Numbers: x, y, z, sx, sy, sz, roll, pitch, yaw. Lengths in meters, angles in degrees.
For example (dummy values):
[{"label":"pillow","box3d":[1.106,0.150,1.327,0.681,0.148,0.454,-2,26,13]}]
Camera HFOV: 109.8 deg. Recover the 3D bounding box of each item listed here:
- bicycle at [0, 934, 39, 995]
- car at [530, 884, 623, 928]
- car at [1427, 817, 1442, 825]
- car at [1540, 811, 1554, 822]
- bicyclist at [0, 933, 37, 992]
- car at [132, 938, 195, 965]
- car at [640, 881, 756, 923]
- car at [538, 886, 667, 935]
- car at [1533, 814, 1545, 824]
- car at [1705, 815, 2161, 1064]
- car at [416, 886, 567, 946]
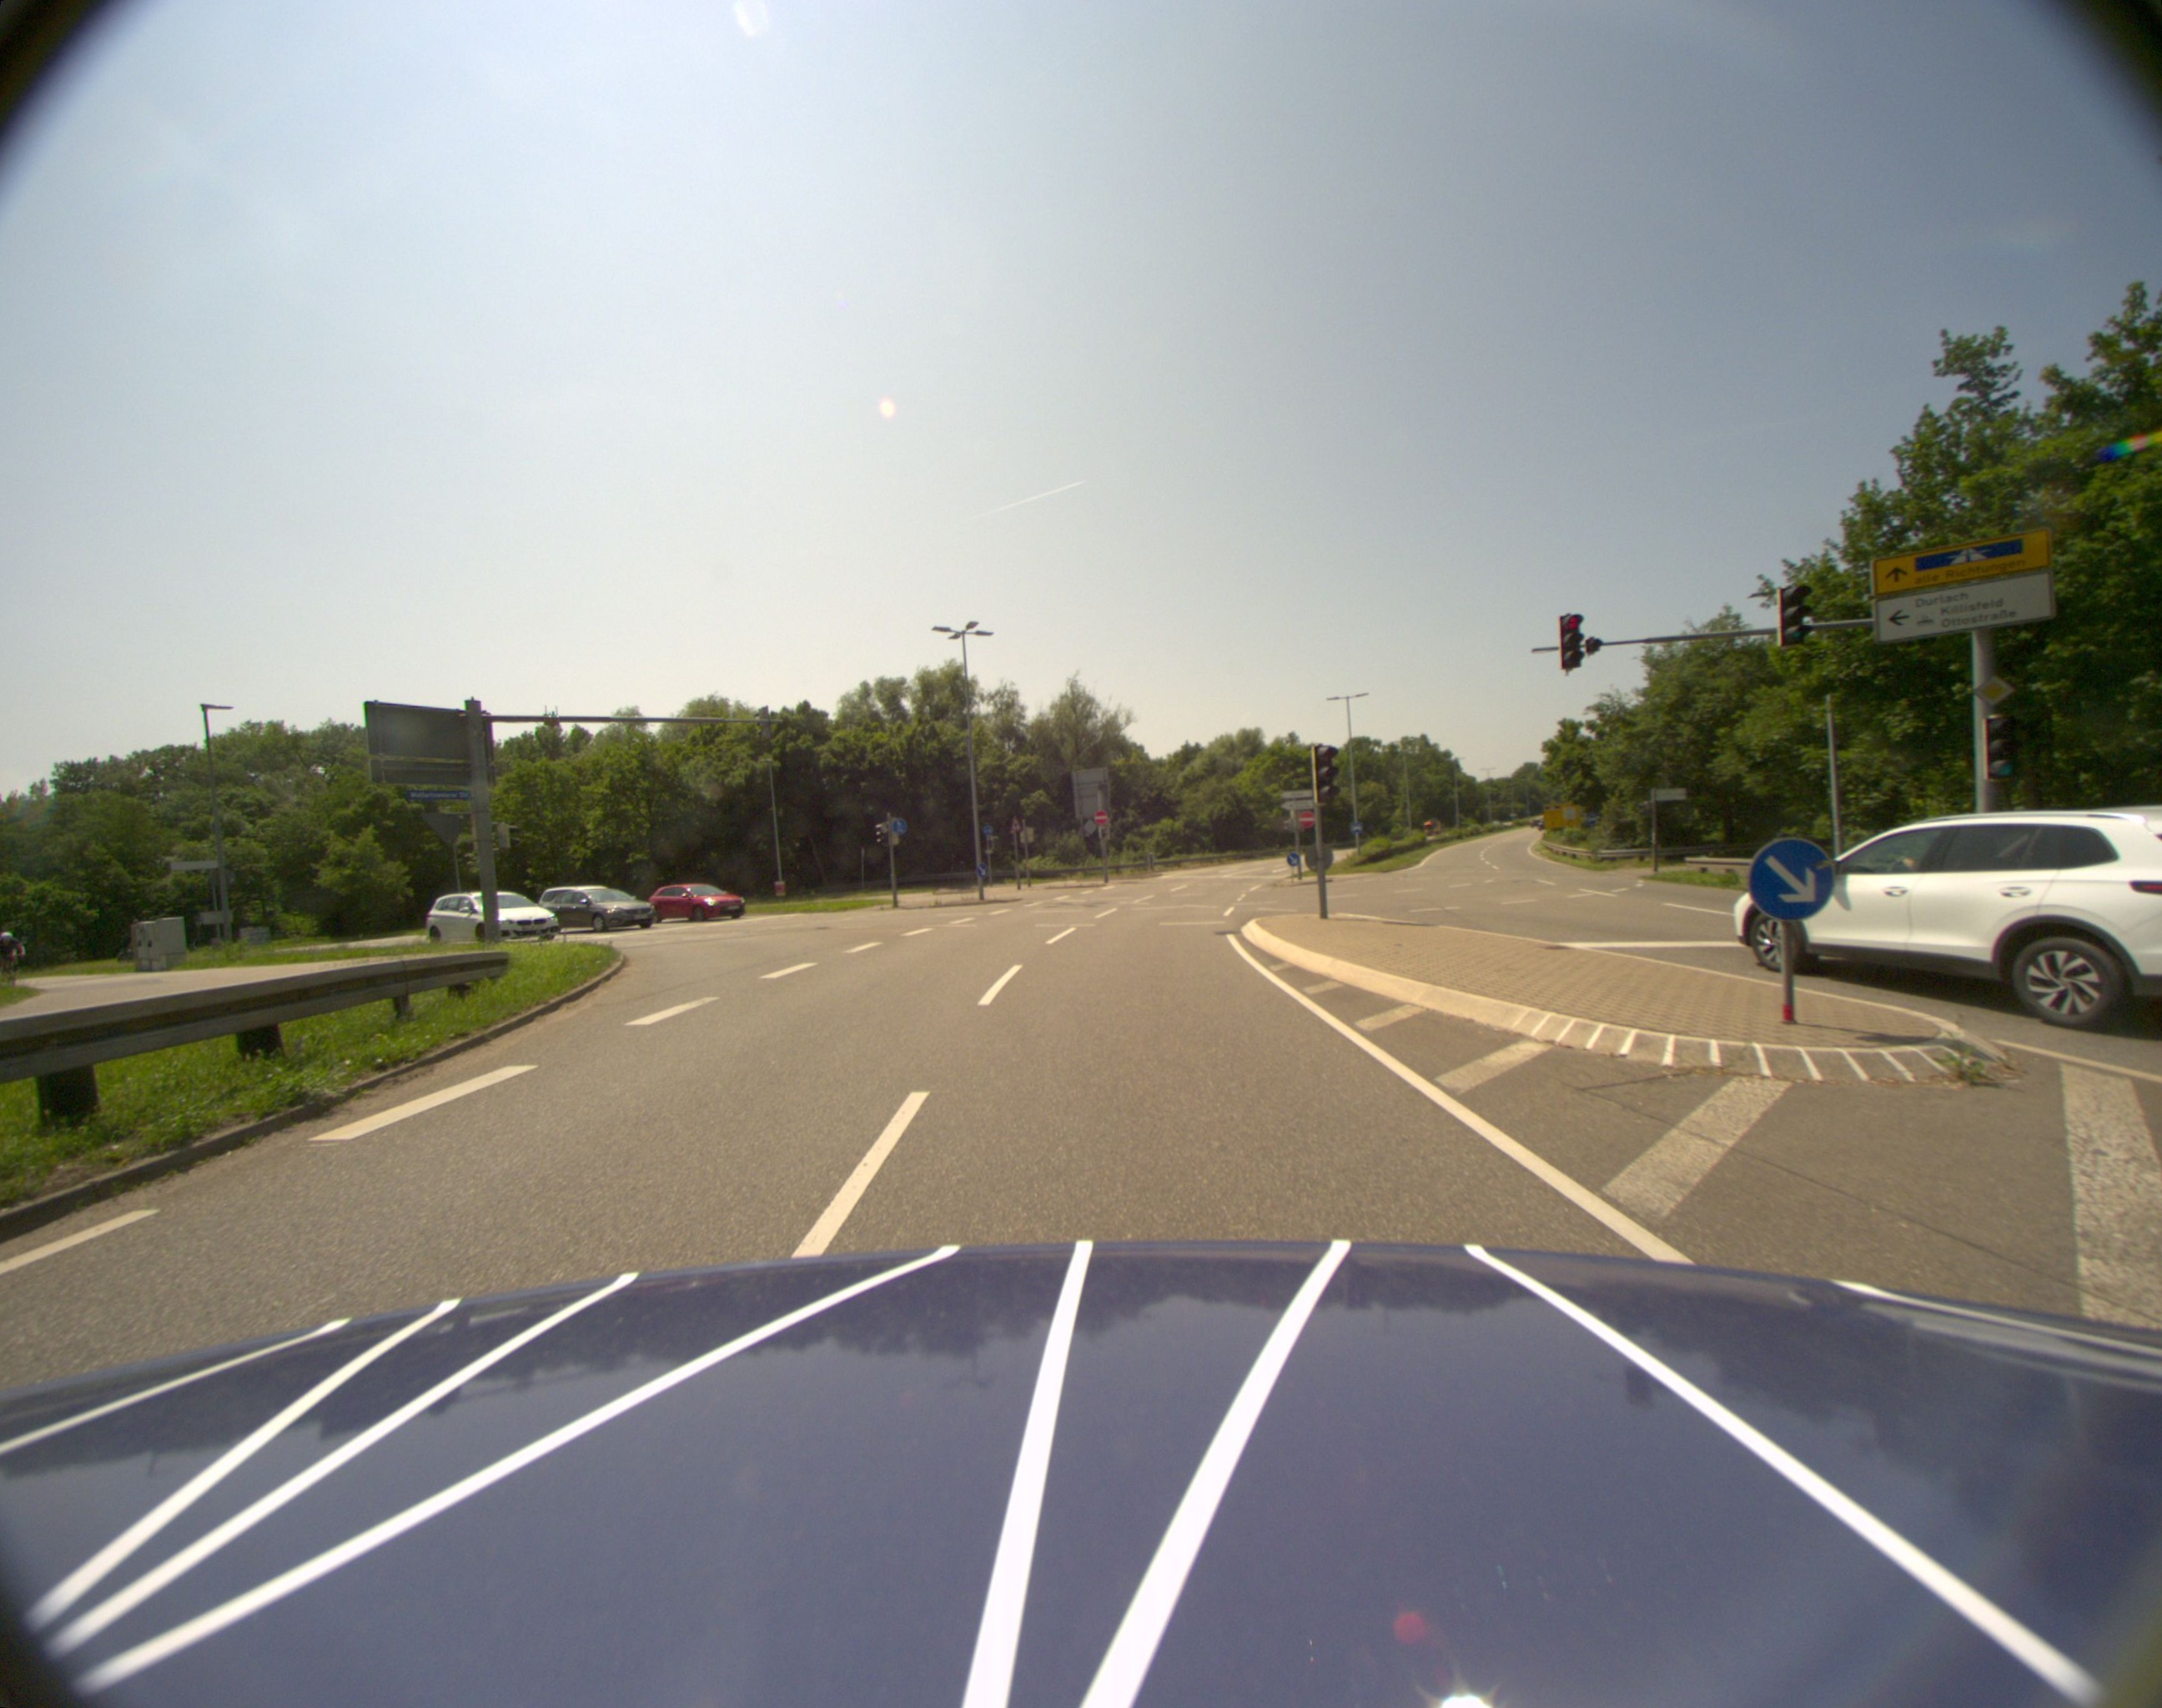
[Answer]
[{"label":"bicycle","box3d":[-30.657,3.140,21.819,2.368,1.565,0.657,-3,1,33]},{"label":"car","box3d":[-21.765,2.237,32.787,3.599,1.642,1.585,-3,1,24]},{"label":"car","box3d":[62.899,-5.882,135.174,1.842,1.422,3.584,-3,1,36]},{"label":"car","box3d":[73.159,-5.900,119.308,1.708,1.617,4.006,-3,1,29]},{"label":"bicyclist","box3d":[-30.662,3.111,21.833,0.690,1.590,0.672,-3,1,34]},{"label":"car","box3d":[-69.207,7.332,57.332,3.685,1.740,1.696,-3,1,18]},{"label":"car","box3d":[-14.578,1.837,28.901,4.176,1.347,1.757,-3,1,28]},{"label":"car","box3d":[-16.482,1.952,26.151,4.176,1.415,1.871,-3,1,28]},{"label":"car","box3d":[85.083,-6.434,141.093,1.736,1.679,3.830,-3,1,33]},{"label":"car","box3d":[8.259,0.513,6.864,1.831,1.629,4.580,-2,1,6]},{"label":"car","box3d":[-17.498,1.834,22.542,4.287,1.497,1.871,-3,1,28]}]
